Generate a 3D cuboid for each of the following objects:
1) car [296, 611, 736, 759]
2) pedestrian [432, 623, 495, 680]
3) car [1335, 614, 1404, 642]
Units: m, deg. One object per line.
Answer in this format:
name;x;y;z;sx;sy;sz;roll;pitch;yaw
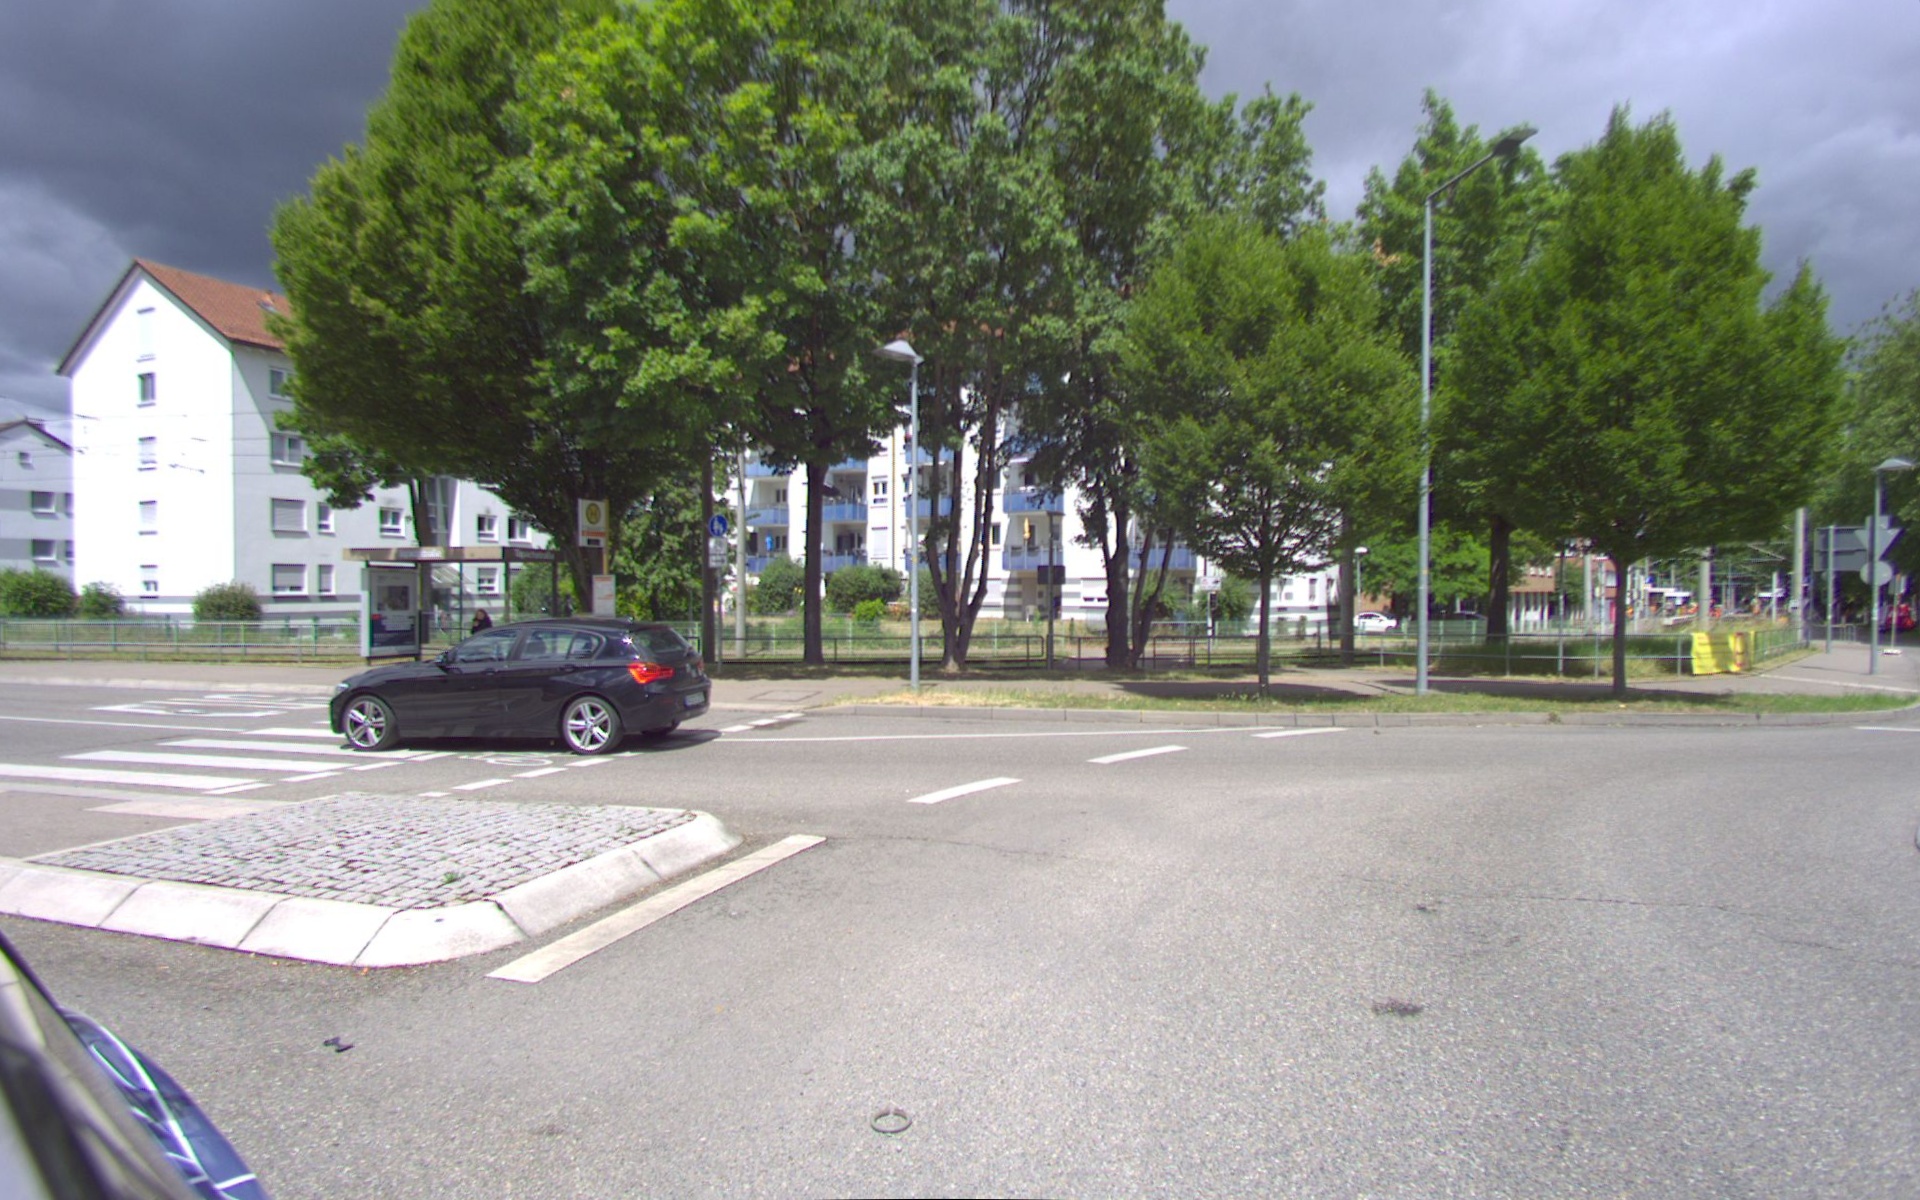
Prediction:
car;-4.997;0.909;11.694;4.337;1.466;1.855;-1;1;9
pedestrian;-10.525;1.076;21.448;0.905;1.143;0.795;0;1;22
car;27.296;1.858;67.511;3.989;1.822;1.977;0;-1;34
